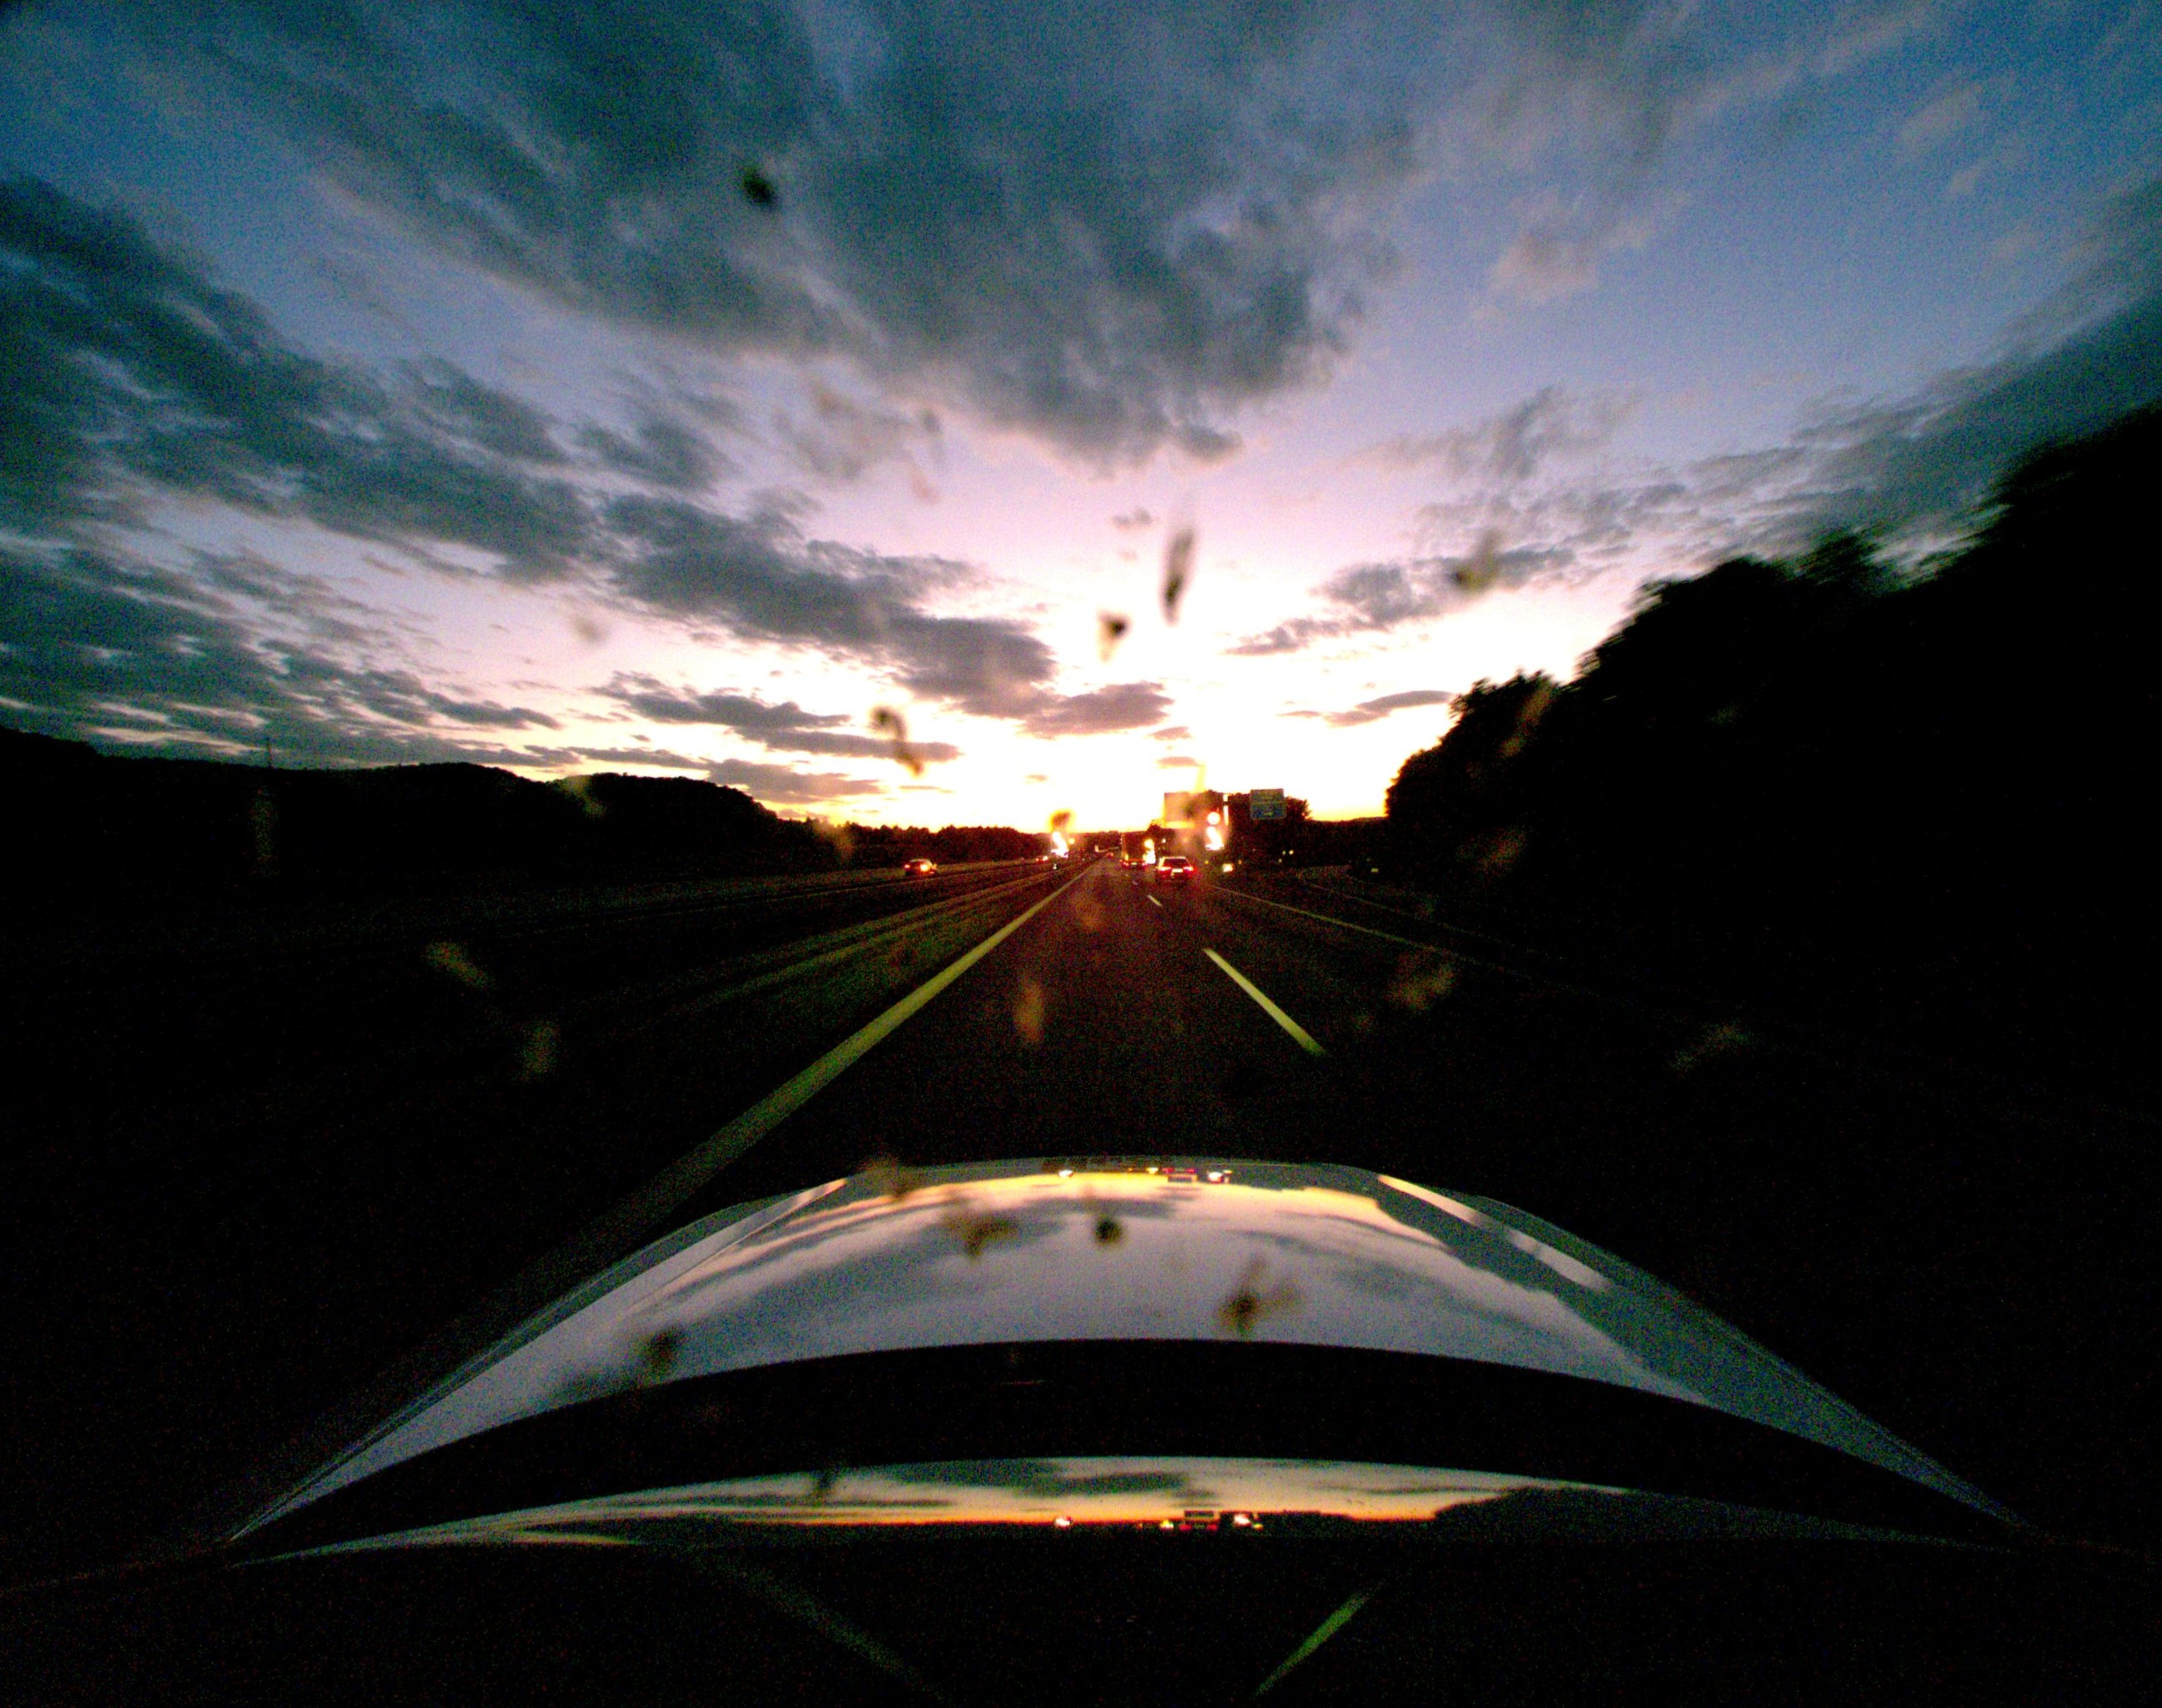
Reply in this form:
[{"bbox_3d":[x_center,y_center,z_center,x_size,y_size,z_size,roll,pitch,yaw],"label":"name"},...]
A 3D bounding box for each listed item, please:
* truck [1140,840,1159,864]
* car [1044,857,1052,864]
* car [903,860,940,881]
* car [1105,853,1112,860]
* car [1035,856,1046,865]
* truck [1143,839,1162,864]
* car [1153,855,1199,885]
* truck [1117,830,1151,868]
[{"bbox_3d":[12.354,-0.365,147.849,2.902,4.111,9.152,-1,0,1],"label":"truck"},{"bbox_3d":[-7.624,1.410,188.638,1.632,1.546,3.396,-3,0,2],"label":"car"},{"bbox_3d":[-12.682,1.293,64.824,1.865,1.561,4.521,-3,0,1],"label":"car"},{"bbox_3d":[8.067,0.856,242.176,1.986,2.013,4.001,-3,0,2],"label":"car"},{"bbox_3d":[-7.797,1.269,157.425,1.706,1.605,3.723,-3,0,2],"label":"car"},{"bbox_3d":[12.193,-0.417,140.048,2.777,4.059,6.413,-1,0,1],"label":"truck"},{"bbox_3d":[4.922,0.805,42.784,1.909,1.442,4.000,-3,0,0],"label":"car"},{"bbox_3d":[6.384,-0.524,99.521,3.497,4.301,9.894,-3,0,1],"label":"truck"}]
